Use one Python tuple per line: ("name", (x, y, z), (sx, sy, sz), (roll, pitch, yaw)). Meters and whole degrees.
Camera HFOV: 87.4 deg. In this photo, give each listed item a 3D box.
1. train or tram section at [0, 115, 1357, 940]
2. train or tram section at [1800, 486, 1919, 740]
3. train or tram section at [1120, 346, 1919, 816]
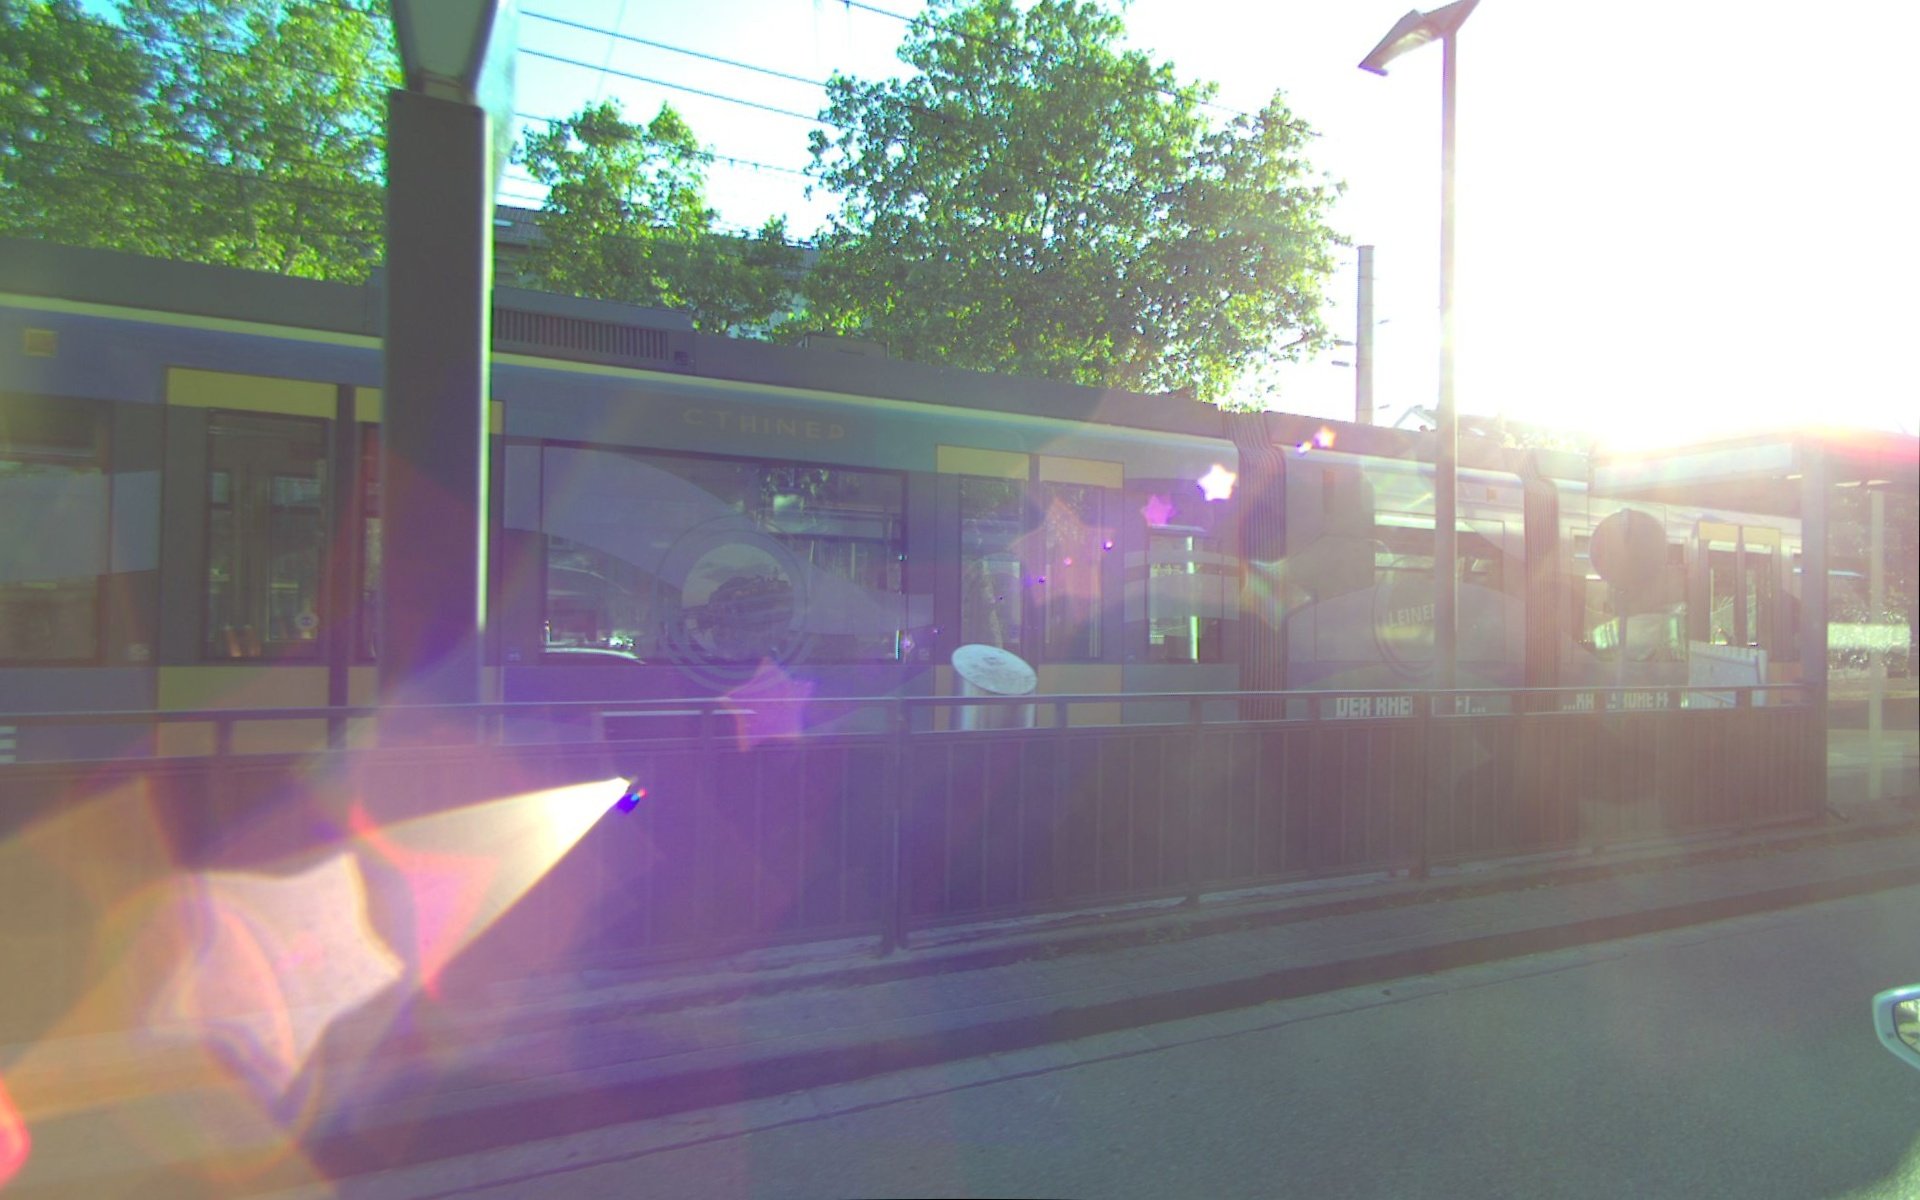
("train or tram section", (-3.505, -0.264, 6.236), (13.214, 3.579, 2.842), (2, -1, -25))
("train or tram section", (19.365, 0.335, 16.998), (13.152, 3.565, 2.633), (2, -1, -25))
("train or tram section", (7.899, 0.022, 11.602), (12.611, 3.596, 2.721), (2, -1, -25))
